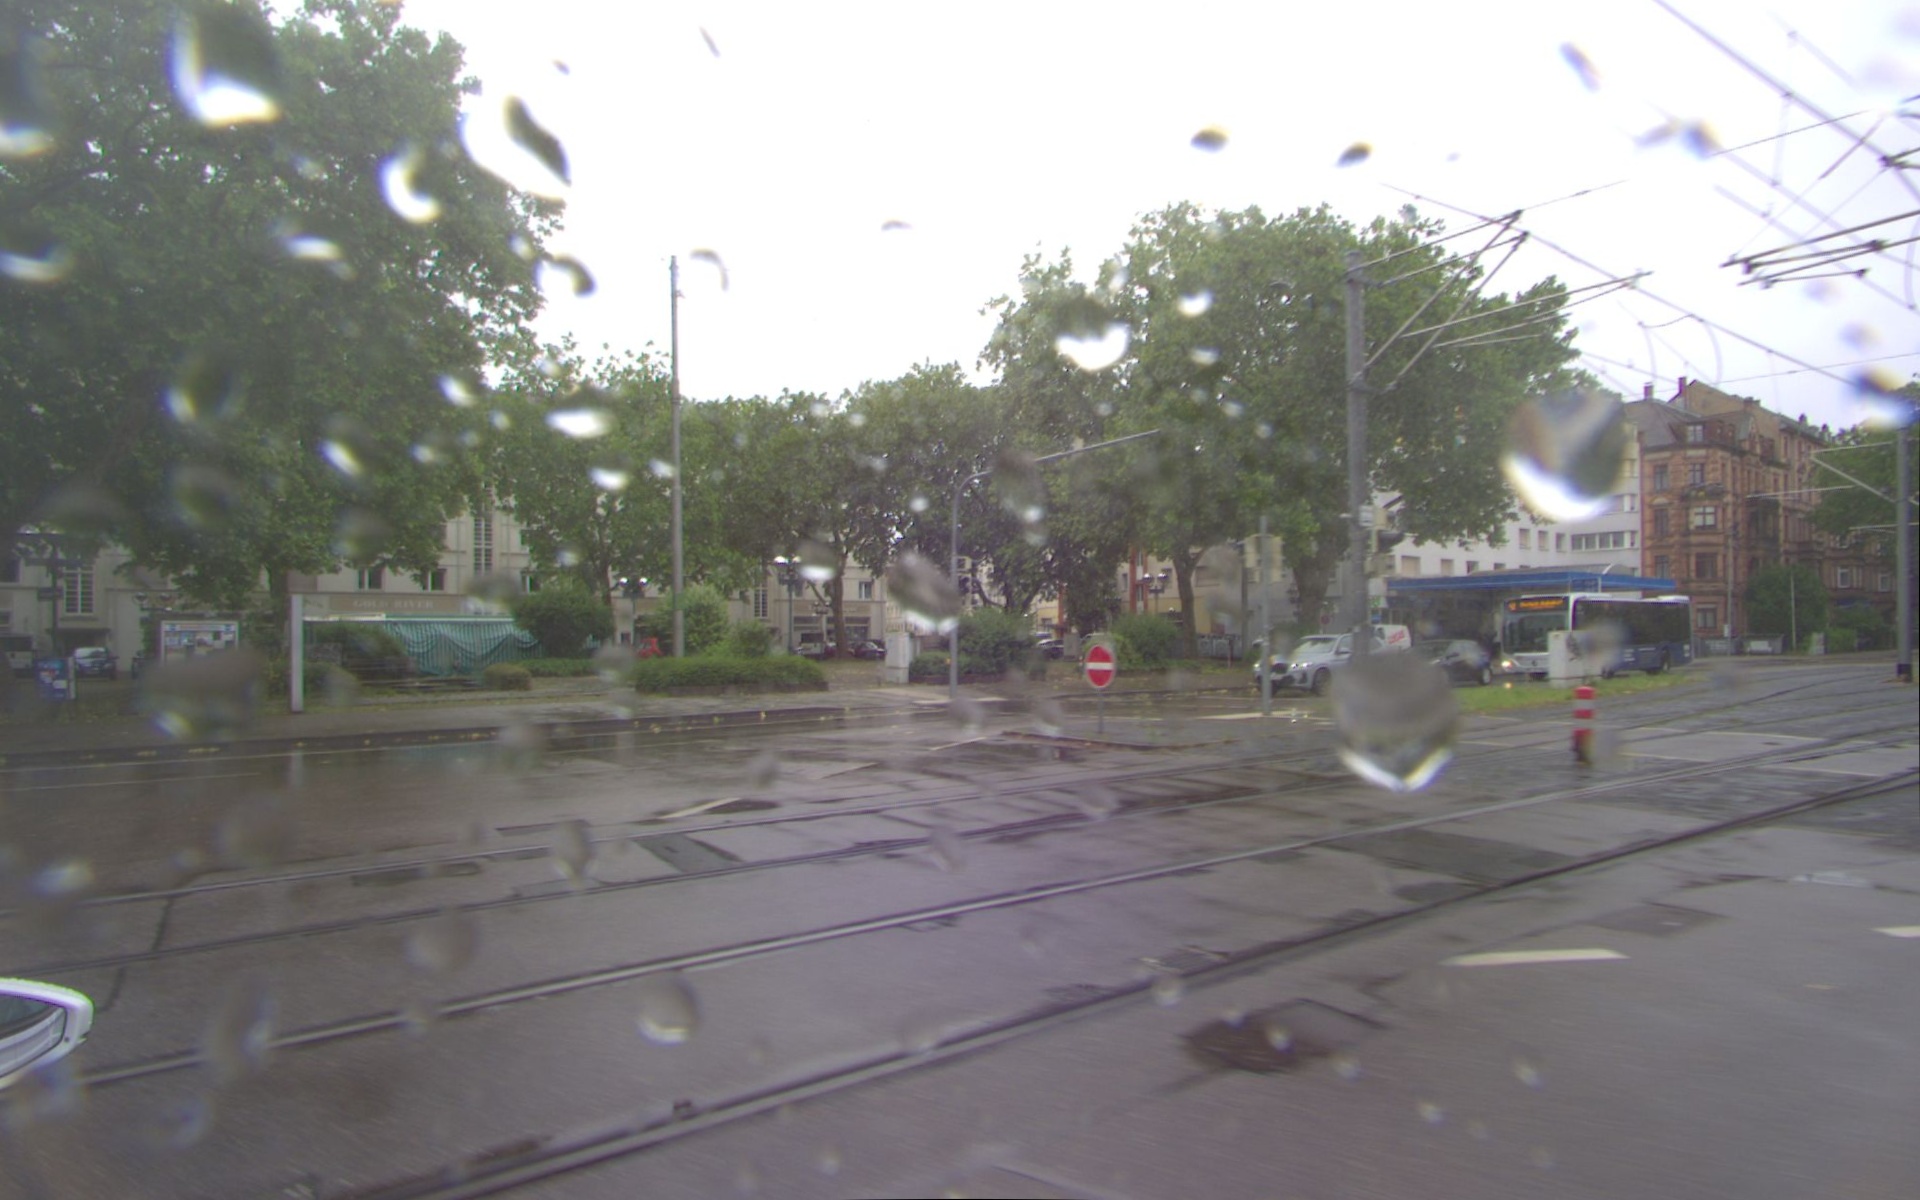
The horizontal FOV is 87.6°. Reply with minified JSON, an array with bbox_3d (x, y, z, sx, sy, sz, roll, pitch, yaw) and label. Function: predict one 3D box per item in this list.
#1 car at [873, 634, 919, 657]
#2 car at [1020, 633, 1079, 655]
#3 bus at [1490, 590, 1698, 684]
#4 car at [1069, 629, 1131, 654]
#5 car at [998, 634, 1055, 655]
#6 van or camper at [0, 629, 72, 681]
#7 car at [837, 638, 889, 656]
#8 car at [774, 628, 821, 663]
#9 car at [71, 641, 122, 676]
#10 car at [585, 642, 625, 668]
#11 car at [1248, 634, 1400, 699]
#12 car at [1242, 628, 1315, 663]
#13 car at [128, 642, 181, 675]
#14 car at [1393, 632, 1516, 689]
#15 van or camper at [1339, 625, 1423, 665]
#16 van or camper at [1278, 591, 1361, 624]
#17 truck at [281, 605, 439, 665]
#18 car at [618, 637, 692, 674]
[{"bbox_3d":[-4.774,3.406,74.368,1.694,1.637,3.976,2,-4,-34],"label":"car"},{"bbox_3d":[6.228,3.036,69.494,3.949,1.470,1.666,1,-2,-35],"label":"car"},{"bbox_3d":[24.591,1.392,38.439,11.959,3.153,2.872,1,-2,-38],"label":"bus"},{"bbox_3d":[9.155,2.695,65.391,3.850,1.571,1.815,1,-2,-39],"label":"car"},{"bbox_3d":[4.754,3.158,71.476,3.949,1.470,1.666,1,-2,-35],"label":"car"},{"bbox_3d":[-42.790,2.492,45.798,2.371,2.259,5.400,0,-2,-32],"label":"van or camper"},{"bbox_3d":[-6.957,3.334,71.542,1.977,1.223,3.970,1,-2,-38],"label":"car"},{"bbox_3d":[-11.189,3.153,68.836,1.534,2.230,4.075,0,-4,-35],"label":"car"},{"bbox_3d":[-40.556,2.743,47.085,1.666,1.594,3.707,1,-3,-39],"label":"car"},{"bbox_3d":[-22.121,3.417,62.305,1.534,1.484,3.347,0,-4,-35],"label":"car"},{"bbox_3d":[10.001,1.746,27.383,4.501,1.620,1.779,1,-2,-37],"label":"car"},{"bbox_3d":[17.119,2.410,53.748,4.214,1.801,1.724,1,-2,-40],"label":"car"},{"bbox_3d":[-39.377,2.875,48.998,1.663,1.449,3.716,0,-5,-34],"label":"car"},{"bbox_3d":[15.313,1.815,30.944,4.129,1.620,1.765,1,-2,-37],"label":"car"},{"bbox_3d":[21.029,2.215,49.940,4.620,1.939,1.983,1,-2,-40],"label":"van or camper"},{"bbox_3d":[18.596,0.437,51.696,4.620,1.619,1.983,1,-2,-40],"label":"van or camper"},{"bbox_3d":[-28.913,1.684,48.427,6.328,2.733,2.250,1,-3,-39],"label":"truck"},{"bbox_3d":[-13.427,2.412,43.988,1.652,1.541,3.643,1,-3,-45],"label":"car"}]
